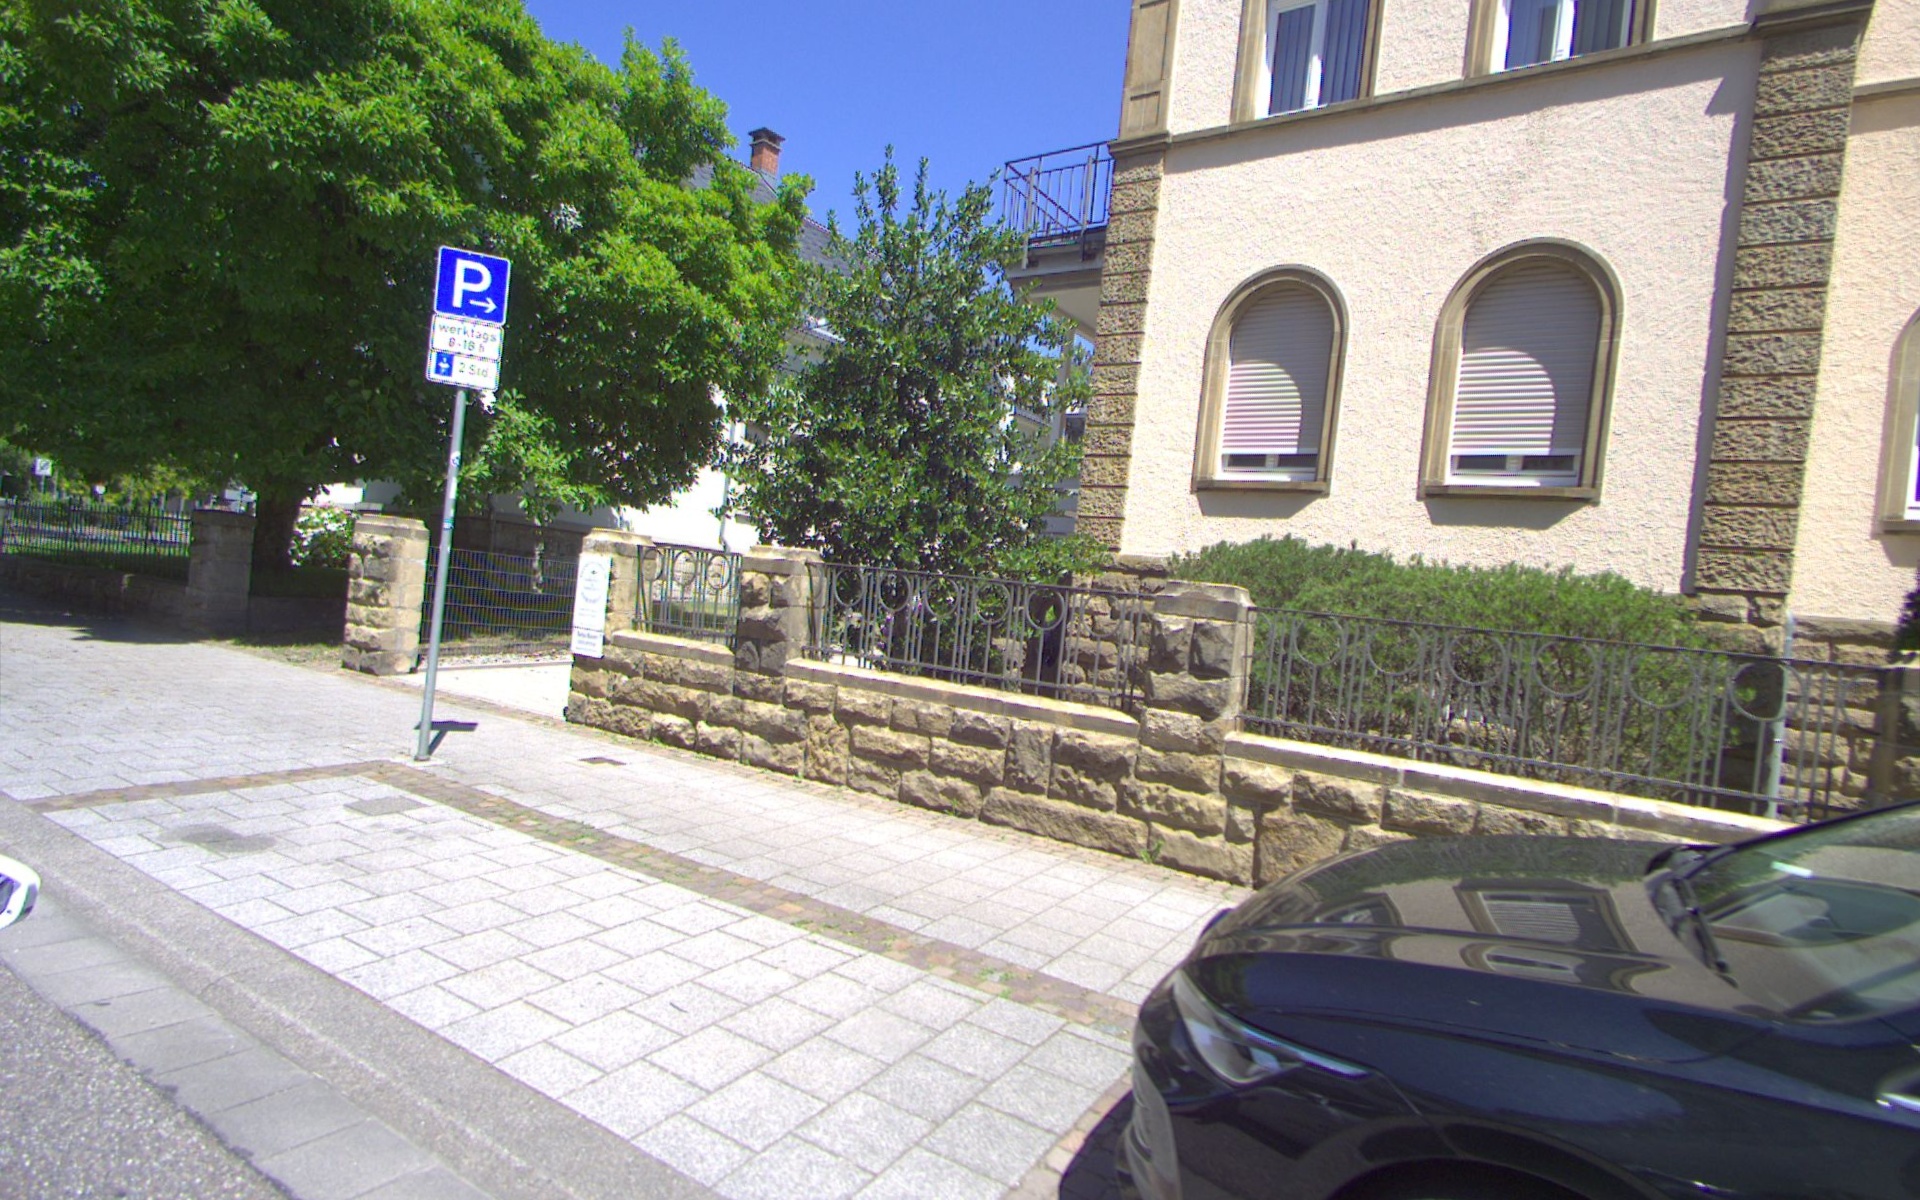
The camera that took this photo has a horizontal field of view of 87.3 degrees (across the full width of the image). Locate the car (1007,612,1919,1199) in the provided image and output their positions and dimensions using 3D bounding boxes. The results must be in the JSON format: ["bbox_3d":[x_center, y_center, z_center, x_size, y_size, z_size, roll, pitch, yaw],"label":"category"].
[{"bbox_3d":[2.379,0.965,1.544,4.325,1.466,1.631,6,3,32],"label":"car"}]
